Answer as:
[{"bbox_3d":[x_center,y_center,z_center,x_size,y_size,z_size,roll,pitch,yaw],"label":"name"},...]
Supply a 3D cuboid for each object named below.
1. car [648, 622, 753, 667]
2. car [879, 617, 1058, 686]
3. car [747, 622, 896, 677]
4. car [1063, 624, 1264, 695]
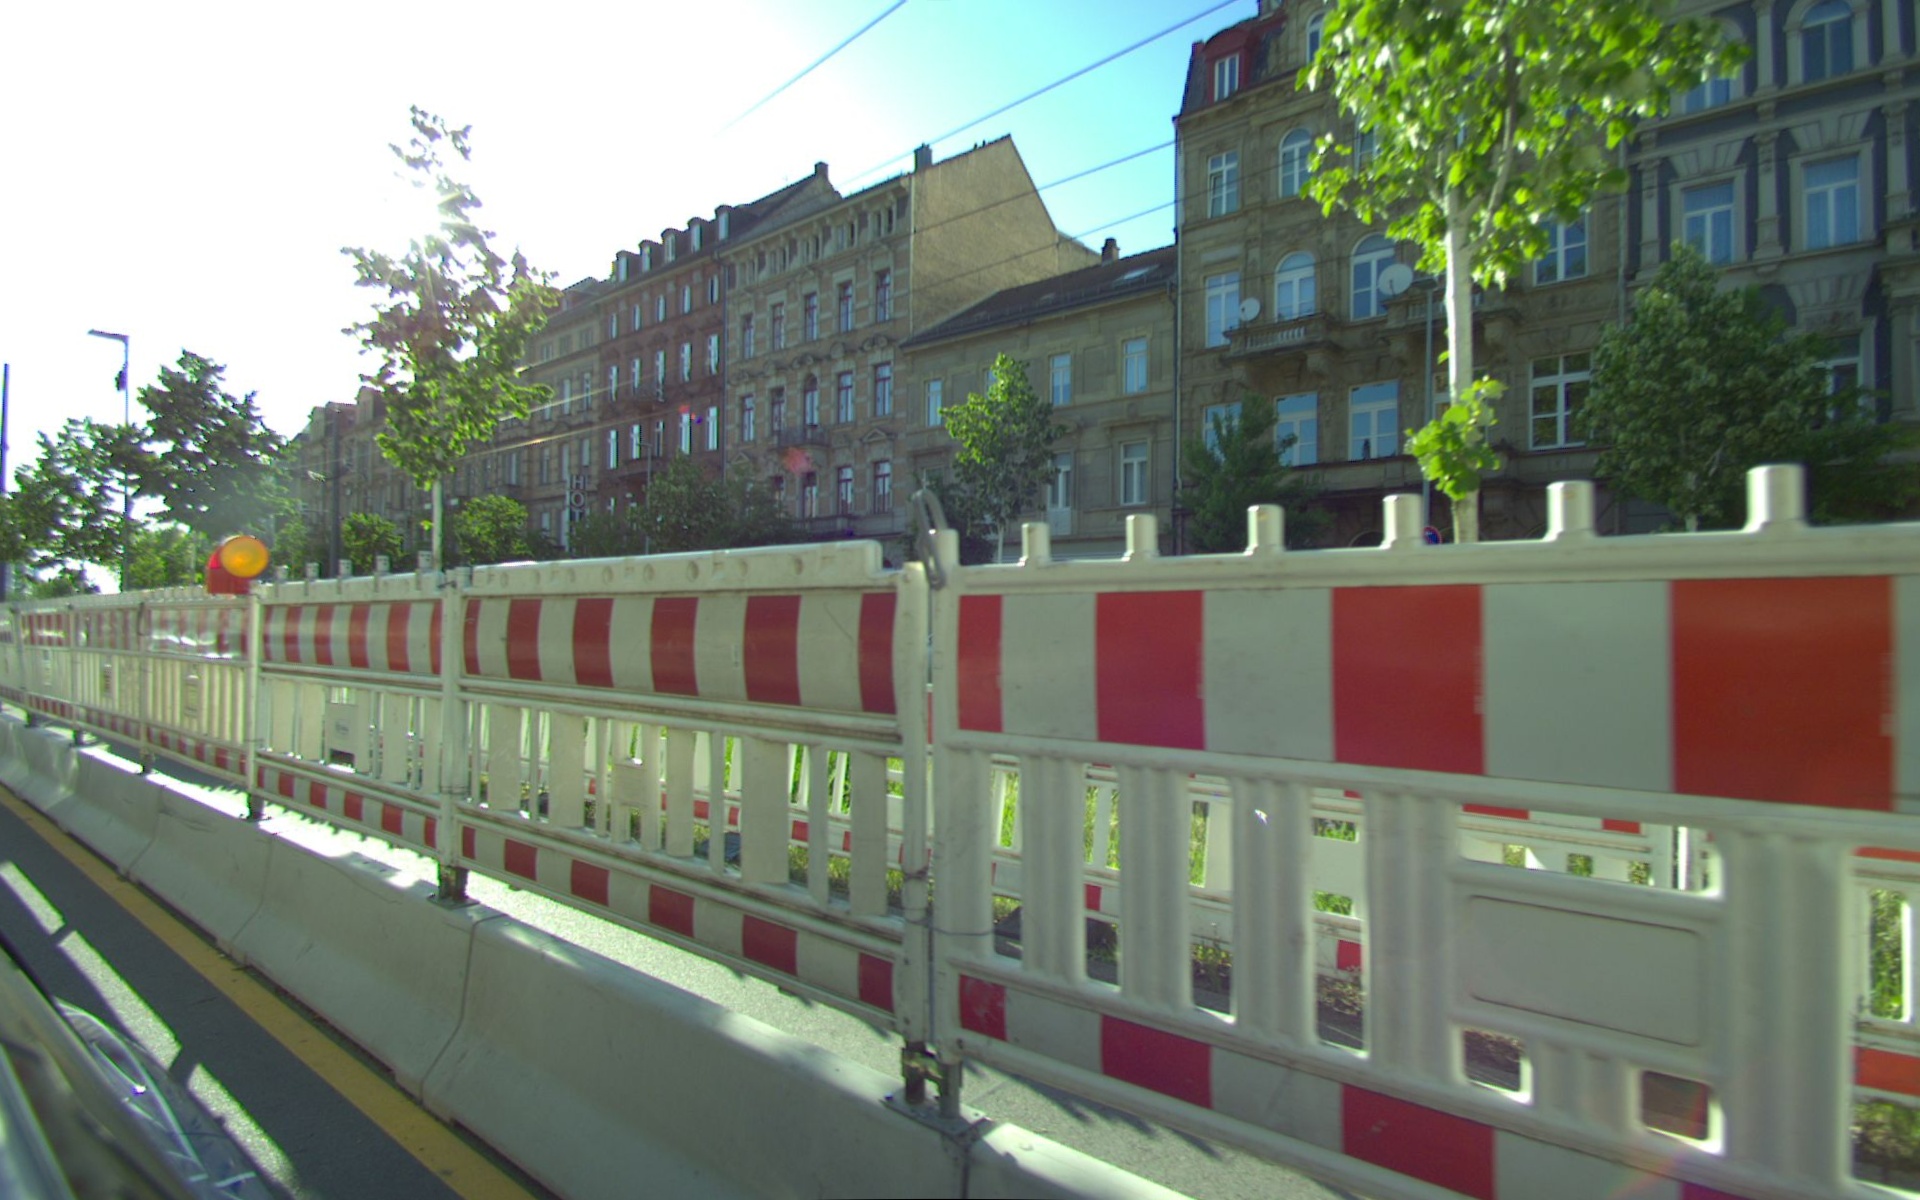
[{"bbox_3d":[-9.529,1.593,37.034,4.026,1.490,1.730,-1,0,41],"label":"car"},{"bbox_3d":[0.162,1.377,28.437,4.884,1.710,1.973,-1,0,40],"label":"car"},{"bbox_3d":[-4.515,1.541,32.616,4.982,1.549,1.973,-1,0,41],"label":"car"},{"bbox_3d":[4.821,1.356,24.252,4.305,1.449,1.973,-1,0,40],"label":"car"}]
